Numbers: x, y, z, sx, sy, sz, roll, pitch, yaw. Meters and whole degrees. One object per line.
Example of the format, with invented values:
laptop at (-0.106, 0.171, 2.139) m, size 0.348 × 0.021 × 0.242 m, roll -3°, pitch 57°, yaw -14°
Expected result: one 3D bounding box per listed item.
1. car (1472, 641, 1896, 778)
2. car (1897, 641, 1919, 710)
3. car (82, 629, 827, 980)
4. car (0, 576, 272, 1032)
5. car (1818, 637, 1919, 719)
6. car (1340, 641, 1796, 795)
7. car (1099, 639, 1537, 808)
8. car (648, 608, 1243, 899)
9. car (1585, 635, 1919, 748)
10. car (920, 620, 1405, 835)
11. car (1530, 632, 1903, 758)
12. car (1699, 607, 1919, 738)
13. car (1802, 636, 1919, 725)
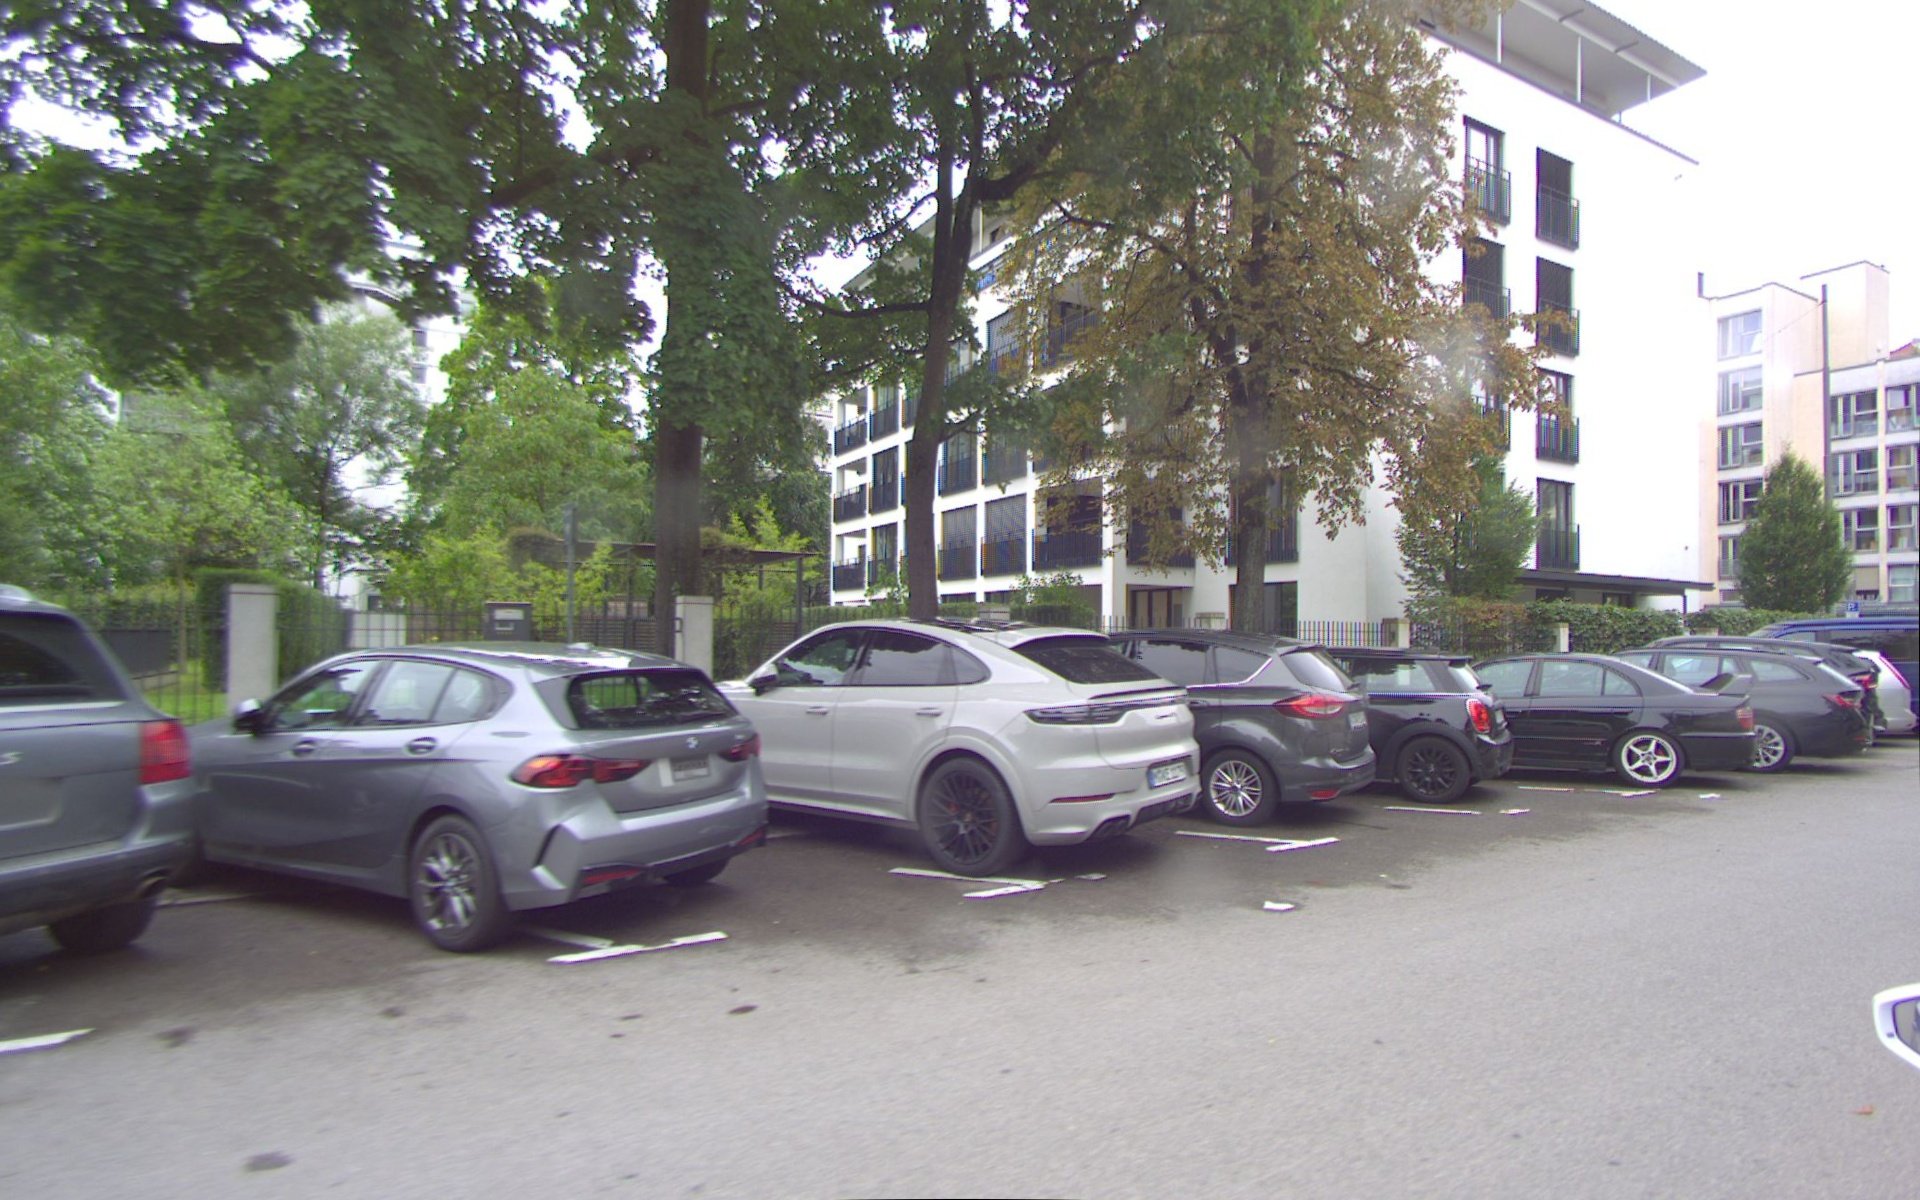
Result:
car at (9.060, 1.305, 12.914) m, size 4.153 × 1.480 × 1.730 m, roll -3°, pitch -4°, yaw 39°
car at (24.731, 1.747, 23.262) m, size 4.044 × 1.630 × 1.735 m, roll -2°, pitch -3°, yaw 28°
car at (-3.200, 0.959, 6.282) m, size 4.332 × 1.510 × 2.015 m, roll -1°, pitch -3°, yaw 28°
car at (-5.607, 0.790, 4.684) m, size 4.331 × 1.721 × 2.135 m, roll -1°, pitch -3°, yaw 27°
car at (21.319, 1.656, 21.592) m, size 4.046 × 1.730 × 1.734 m, roll -2°, pitch -3°, yaw 29°
car at (6.691, 1.250, 11.524) m, size 4.142 × 1.480 × 1.735 m, roll -2°, pitch -3°, yaw 29°
car at (3.762, 1.183, 10.873) m, size 4.149 × 1.480 × 1.788 m, roll -1°, pitch -3°, yaw 36°
car at (-0.265, 0.952, 7.873) m, size 4.344 × 1.642 × 2.078 m, roll -1°, pitch -3°, yaw 38°
car at (12.620, 1.420, 16.269) m, size 4.143 × 1.630 × 1.734 m, roll -2°, pitch -3°, yaw 30°
car at (1.823, 1.041, 9.579) m, size 4.149 × 1.619 × 1.880 m, roll -1°, pitch -3°, yaw 36°
car at (10.892, 1.333, 14.841) m, size 4.148 × 1.630 × 1.732 m, roll -2°, pitch -4°, yaw 34°
car at (15.317, 1.213, 17.119) m, size 4.143 × 2.093 × 1.734 m, roll -2°, pitch -3°, yaw 30°
car at (19.559, 1.576, 19.930) m, size 4.046 × 1.730 × 1.734 m, roll -2°, pitch -3°, yaw 29°
